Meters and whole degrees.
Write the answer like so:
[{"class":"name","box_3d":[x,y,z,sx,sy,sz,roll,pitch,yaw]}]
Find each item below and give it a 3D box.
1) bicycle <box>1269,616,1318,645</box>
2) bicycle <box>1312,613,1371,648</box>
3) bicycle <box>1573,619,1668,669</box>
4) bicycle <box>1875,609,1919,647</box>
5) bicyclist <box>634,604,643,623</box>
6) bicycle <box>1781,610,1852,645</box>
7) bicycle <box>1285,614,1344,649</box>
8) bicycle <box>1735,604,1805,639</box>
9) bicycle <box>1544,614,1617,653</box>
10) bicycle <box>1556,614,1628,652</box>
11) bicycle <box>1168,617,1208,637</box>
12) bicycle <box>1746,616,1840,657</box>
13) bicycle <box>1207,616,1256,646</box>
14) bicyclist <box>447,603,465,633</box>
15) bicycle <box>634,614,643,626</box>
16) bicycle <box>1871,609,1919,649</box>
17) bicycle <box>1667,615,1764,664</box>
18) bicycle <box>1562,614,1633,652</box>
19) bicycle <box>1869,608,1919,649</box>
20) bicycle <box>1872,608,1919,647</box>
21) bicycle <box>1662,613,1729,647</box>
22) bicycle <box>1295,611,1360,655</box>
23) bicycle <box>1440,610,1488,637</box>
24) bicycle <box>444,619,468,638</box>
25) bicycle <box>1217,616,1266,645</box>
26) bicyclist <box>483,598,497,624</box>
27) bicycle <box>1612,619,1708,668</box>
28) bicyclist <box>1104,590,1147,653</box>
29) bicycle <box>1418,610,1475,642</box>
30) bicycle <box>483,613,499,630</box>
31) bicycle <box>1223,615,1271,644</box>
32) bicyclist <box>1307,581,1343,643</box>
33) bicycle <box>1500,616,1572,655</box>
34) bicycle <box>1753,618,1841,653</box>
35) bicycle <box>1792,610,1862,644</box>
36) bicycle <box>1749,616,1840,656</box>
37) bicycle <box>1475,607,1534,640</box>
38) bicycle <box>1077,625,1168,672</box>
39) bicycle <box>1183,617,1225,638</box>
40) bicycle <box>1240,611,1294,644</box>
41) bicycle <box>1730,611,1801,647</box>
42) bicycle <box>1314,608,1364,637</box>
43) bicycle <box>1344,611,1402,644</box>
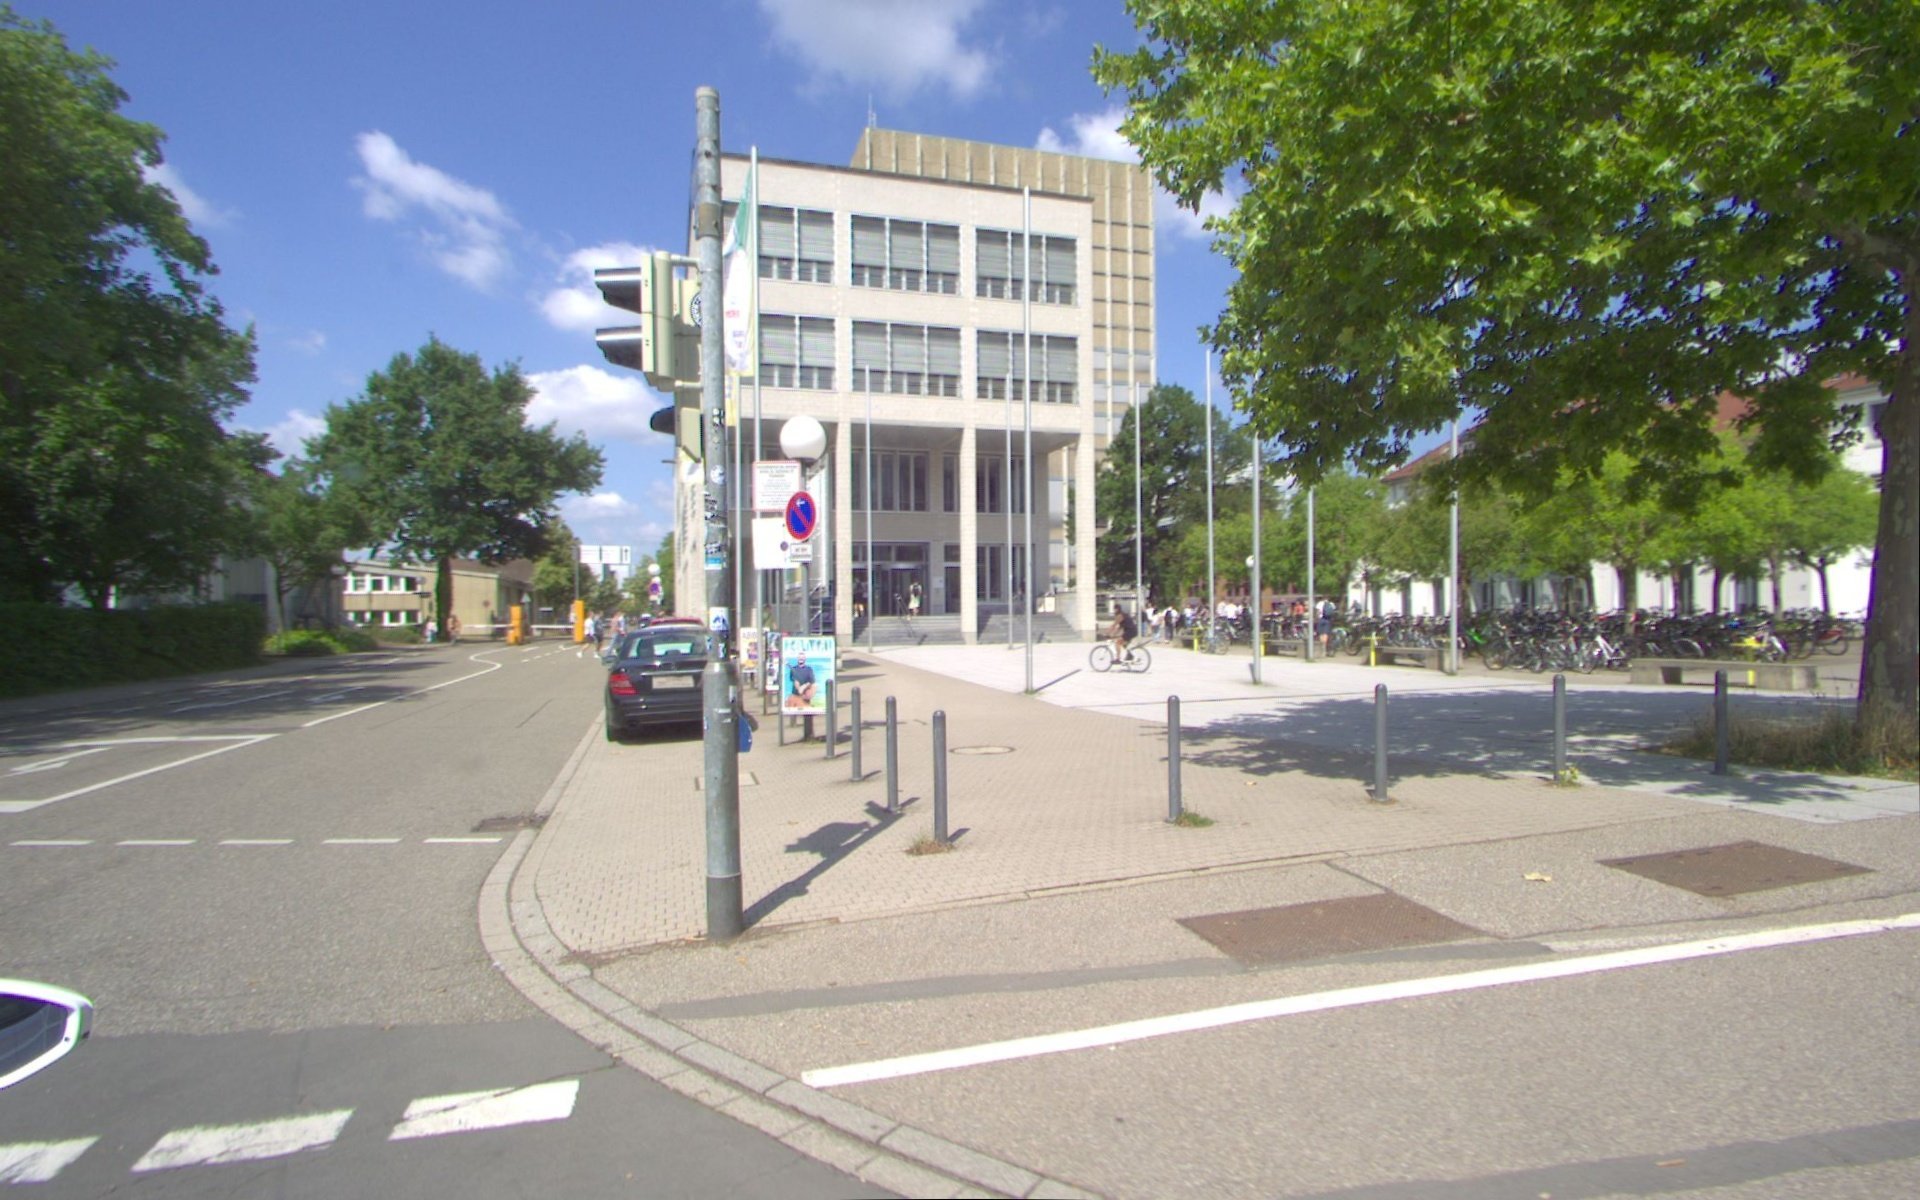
[{"class":"bicycle","box_3d":[13.373,1.246,40.171,1.749,1.113,0.599,-3,-2,43]},{"class":"bicycle","box_3d":[12.745,1.037,33.475,1.749,1.113,0.599,-3,-2,43]},{"class":"bicycle","box_3d":[15.367,1.035,23.309,1.749,1.113,0.598,-3,-2,43]},{"class":"bicycle","box_3d":[28.208,0.820,29.542,1.749,1.113,0.598,-3,-2,43]},{"class":"bicyclist","box_3d":[-38.694,1.636,120.426,0.973,2.159,1.035,-1,-1,-17]},{"class":"bicycle","box_3d":[28.465,0.915,33.281,1.749,1.113,0.599,-3,-2,43]},{"class":"bicycle","box_3d":[11.721,1.038,33.154,1.749,1.113,0.599,-3,-2,43]},{"class":"bicycle","box_3d":[26.859,0.734,33.235,1.749,1.113,0.599,-3,-2,43]},{"class":"bicycle","box_3d":[18.598,1.013,30.034,1.749,1.113,0.599,-3,-2,43]},{"class":"bicycle","box_3d":[19.204,0.998,30.427,1.749,1.113,0.599,-3,-2,43]},{"class":"bicycle","box_3d":[9.409,1.106,41.316,1.742,0.803,0.518,-1,0,-29]},{"class":"bicycle","box_3d":[20.625,0.888,24.814,1.749,0.967,0.598,-1,-1,43]},{"class":"bicycle","box_3d":[10.486,1.197,38.711,1.749,1.113,0.599,-3,-2,43]},{"class":"bicyclist","box_3d":[-27.352,0.984,54.355,0.683,1.568,1.016,-1,0,-18]},{"class":"bicycle","box_3d":[-38.535,2.449,120.101,0.973,1.332,2.960,-1,-2,-17]},{"class":"bicycle","box_3d":[27.194,0.827,28.552,1.749,1.113,0.598,-3,-2,43]},{"class":"bicycle","box_3d":[17.755,0.933,23.554,1.749,1.113,0.598,-3,-2,43]},{"class":"bicycle","box_3d":[19.652,1.023,30.896,1.749,1.113,0.599,-3,-2,43]},{"class":"bicycle","box_3d":[26.581,0.795,27.966,1.749,1.113,0.598,-3,-2,43]},{"class":"bicycle","box_3d":[27.681,0.799,29.076,1.749,1.113,0.598,-3,-2,43]},{"class":"bicycle","box_3d":[24.871,1.021,33.869,1.749,1.113,0.599,-3,-2,43]},{"class":"bicycle","box_3d":[11.277,1.002,30.756,1.842,1.313,0.661,-1,-2,-19]},{"class":"bicycle","box_3d":[21.849,1.020,43.419,1.749,1.113,0.599,-3,-2,43]},{"class":"bicycle","box_3d":[-27.360,1.551,54.364,0.781,1.002,2.205,-1,-1,-17]},{"class":"bicycle","box_3d":[11.012,1.205,39.199,1.749,1.113,0.599,-3,-2,43]},{"class":"bicyclist","box_3d":[-32.161,0.770,68.547,0.683,1.759,0.917,-1,0,-18]},{"class":"bicycle","box_3d":[16.301,1.015,23.348,1.749,1.113,0.598,-3,-2,43]},{"class":"bicyclist","box_3d":[4.228,0.540,25.558,0.919,1.585,0.660,0,1,30]},{"class":"bicycle","box_3d":[17.752,0.945,36.584,1.749,1.113,0.599,-3,-2,43]},{"class":"bicycle","box_3d":[-32.231,1.469,68.847,0.682,1.186,2.205,-1,-1,-17]},{"class":"bicycle","box_3d":[11.410,1.173,39.823,1.749,1.113,0.599,-3,-2,43]},{"class":"bicyclist","box_3d":[11.209,0.374,30.753,0.748,1.869,0.661,-1,-1,-18]},{"class":"bicycle","box_3d":[17.033,1.061,29.621,1.749,1.113,0.599,-3,-2,43]},{"class":"bicycle","box_3d":[21.707,0.916,25.994,1.749,0.880,0.480,-1,-1,43]},{"class":"bicycle","box_3d":[29.091,0.914,33.618,1.749,1.113,0.599,-3,-2,43]},{"class":"bicycle","box_3d":[21.165,0.899,25.403,1.749,0.967,0.598,-1,-1,43]},{"class":"bicycle","box_3d":[19.545,0.860,35.958,1.749,1.113,0.599,-3,-2,43]},{"class":"bicycle","box_3d":[4.150,1.211,25.652,2.122,1.093,0.899,1,1,31]},{"class":"bicycle","box_3d":[9.810,1.092,40.258,1.742,0.803,0.518,-1,0,-29]},{"class":"bicycle","box_3d":[10.890,0.987,35.545,1.749,1.113,0.599,-3,-2,43]},{"class":"bicycle","box_3d":[26.190,0.939,32.567,1.749,1.113,0.599,-3,-2,43]},{"class":"bicycle","box_3d":[15.115,0.905,39.996,1.749,1.113,0.599,-3,-2,43]},{"class":"bicycle","box_3d":[14.363,0.970,34.814,1.749,1.113,0.599,-3,-2,43]}]
